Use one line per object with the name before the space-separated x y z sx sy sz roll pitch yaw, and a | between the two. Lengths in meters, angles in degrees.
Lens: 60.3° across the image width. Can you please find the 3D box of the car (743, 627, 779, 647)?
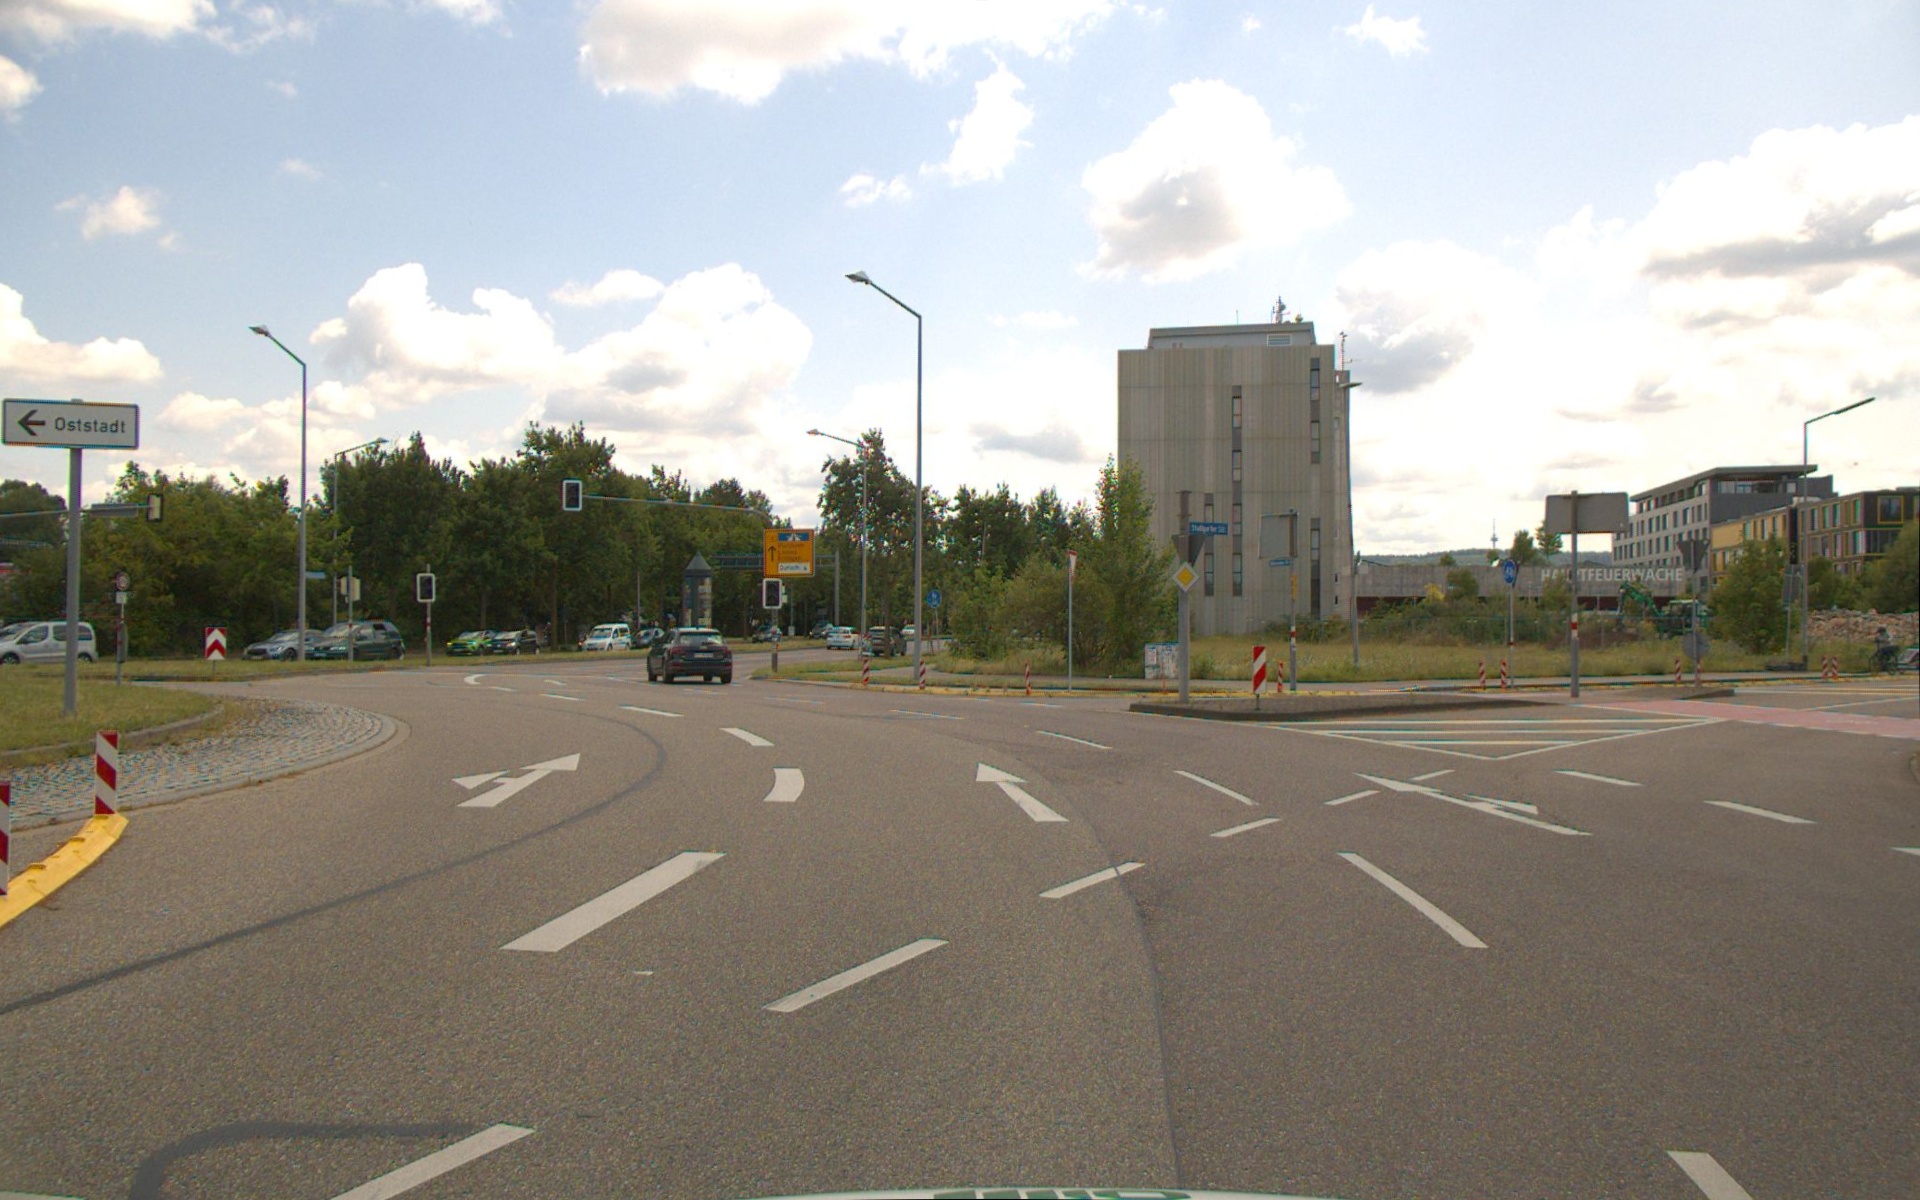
car | -16.531 3.056 137.575 1.685 1.619 5.017 -1 -2 9

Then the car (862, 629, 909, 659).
car | -4.190 2.466 93.622 1.951 1.654 4.312 0 -1 7

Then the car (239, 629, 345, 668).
car | -26.013 1.871 64.546 1.865 1.448 4.194 0 -1 10

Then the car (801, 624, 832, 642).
car | -13.537 3.082 156.259 1.725 1.605 5.035 -1 -1 9

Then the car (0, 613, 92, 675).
car | -32.475 1.494 56.449 1.955 2.049 4.781 0 -1 27

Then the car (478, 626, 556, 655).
car | -22.290 2.035 83.443 1.798 1.333 4.791 -2 -2 12

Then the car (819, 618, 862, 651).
car | -7.719 2.244 107.241 1.951 2.049 4.003 1 -1 7

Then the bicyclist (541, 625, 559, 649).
bicyclist | -27.359 2.463 110.392 0.812 1.592 0.884 2 -1 9

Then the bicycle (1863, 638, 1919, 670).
bicycle | 32.355 1.884 57.208 2.512 1.035 0.866 3 -3 -33

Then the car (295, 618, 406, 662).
car | -23.131 1.528 62.917 1.867 1.620 4.595 0 -1 10

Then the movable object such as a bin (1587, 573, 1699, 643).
movable object such as a bin | 42.058 0.550 101.687 7.536 3.920 3.008 3 -3 -37

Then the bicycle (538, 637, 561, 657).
bicycle | -27.390 3.133 110.404 0.744 1.240 2.018 2 -1 9

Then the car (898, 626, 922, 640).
car | -5.392 3.532 177.840 1.725 1.465 4.312 -1 -1 10

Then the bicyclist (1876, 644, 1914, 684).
bicyclist | 32.296 2.196 57.133 0.801 1.348 0.867 3 -3 -30

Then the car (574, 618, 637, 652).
car | -20.470 2.024 95.689 1.798 1.831 4.791 -2 -2 10

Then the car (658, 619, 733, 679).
car | -7.054 1.275 43.882 1.655 1.489 3.986 2 -1 -13

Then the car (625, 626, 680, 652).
car | -18.903 2.419 101.923 1.798 1.506 4.756 -2 -2 10

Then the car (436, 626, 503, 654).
car | -25.247 2.062 85.306 1.581 1.372 4.174 -2 -2 10
